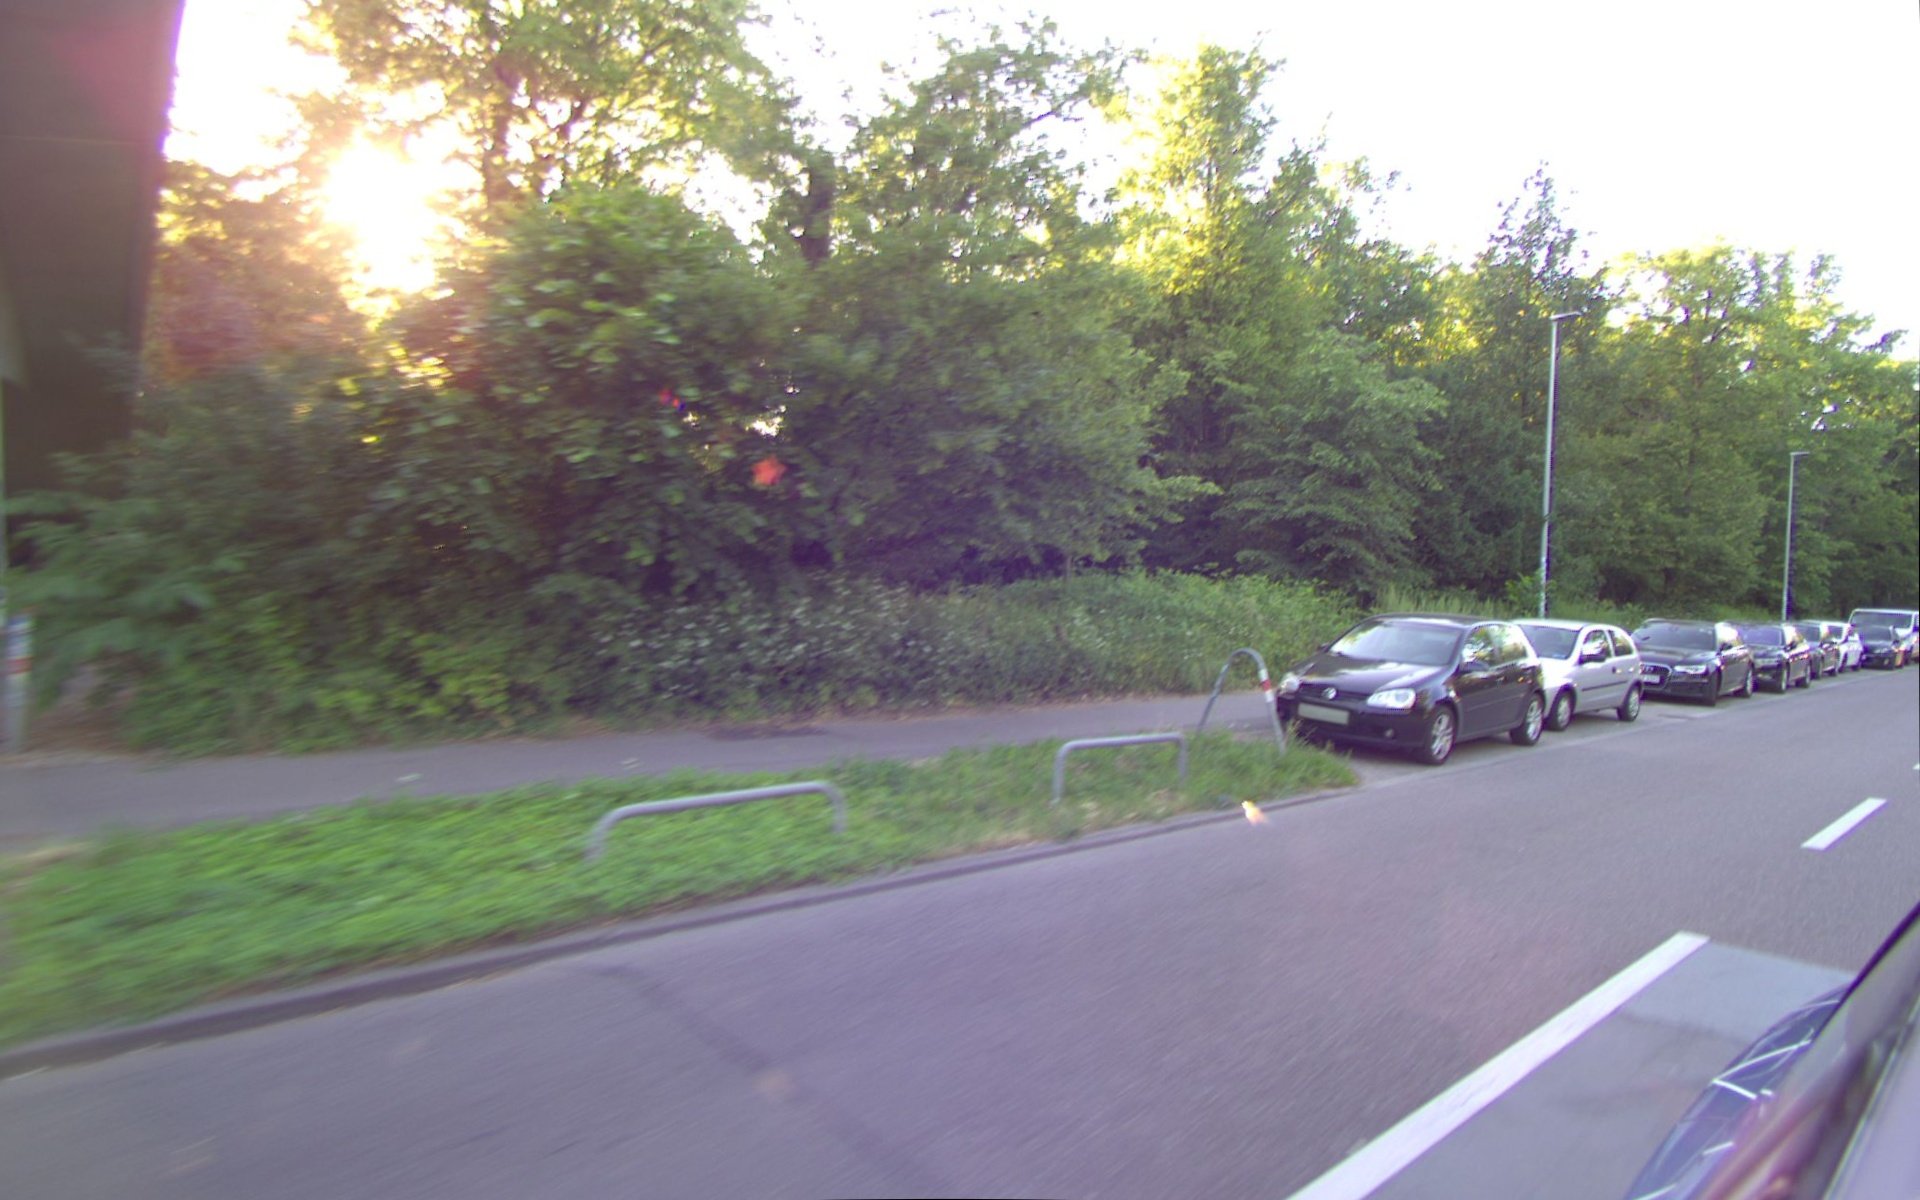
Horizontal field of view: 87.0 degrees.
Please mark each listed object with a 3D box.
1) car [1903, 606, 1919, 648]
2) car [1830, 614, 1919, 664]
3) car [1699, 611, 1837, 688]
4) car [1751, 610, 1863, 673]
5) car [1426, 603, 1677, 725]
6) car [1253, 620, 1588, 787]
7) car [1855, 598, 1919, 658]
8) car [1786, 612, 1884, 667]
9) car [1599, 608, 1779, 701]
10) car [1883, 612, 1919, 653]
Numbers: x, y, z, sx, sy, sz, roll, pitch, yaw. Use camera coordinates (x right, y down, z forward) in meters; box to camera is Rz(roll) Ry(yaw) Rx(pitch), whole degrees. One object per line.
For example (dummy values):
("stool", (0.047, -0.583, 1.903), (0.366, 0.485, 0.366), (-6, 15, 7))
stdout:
("car", (44.171, 1.261, 45.771), (4.656, 1.826, 1.762), (1, 2, -42))
("car", (30.271, 1.227, 33.242), (4.291, 1.424, 1.873), (1, 2, -41))
("car", (18.218, 1.041, 22.729), (4.813, 1.471, 1.640), (1, 2, -42))
("car", (22.640, 1.069, 27.017), (3.873, 1.471, 1.589), (1, 2, -40))
("car", (8.709, 0.851, 14.798), (3.940, 1.471, 1.780), (1, 2, -38))
("car", (5.411, 1.026, 11.639), (4.309, 1.471, 1.778), (1, 2, -40))
("car", (34.977, 1.011, 37.551), (5.378, 2.005, 1.873), (1, 2, -41))
("car", (26.230, 1.154, 30.311), (3.730, 1.471, 1.590), (1, 2, -40))
("car", (14.106, 0.961, 19.466), (4.951, 1.471, 1.777), (1, 2, -42))
("car", (39.571, 1.334, 41.663), (4.350, 1.566, 1.763), (1, 2, -41))
